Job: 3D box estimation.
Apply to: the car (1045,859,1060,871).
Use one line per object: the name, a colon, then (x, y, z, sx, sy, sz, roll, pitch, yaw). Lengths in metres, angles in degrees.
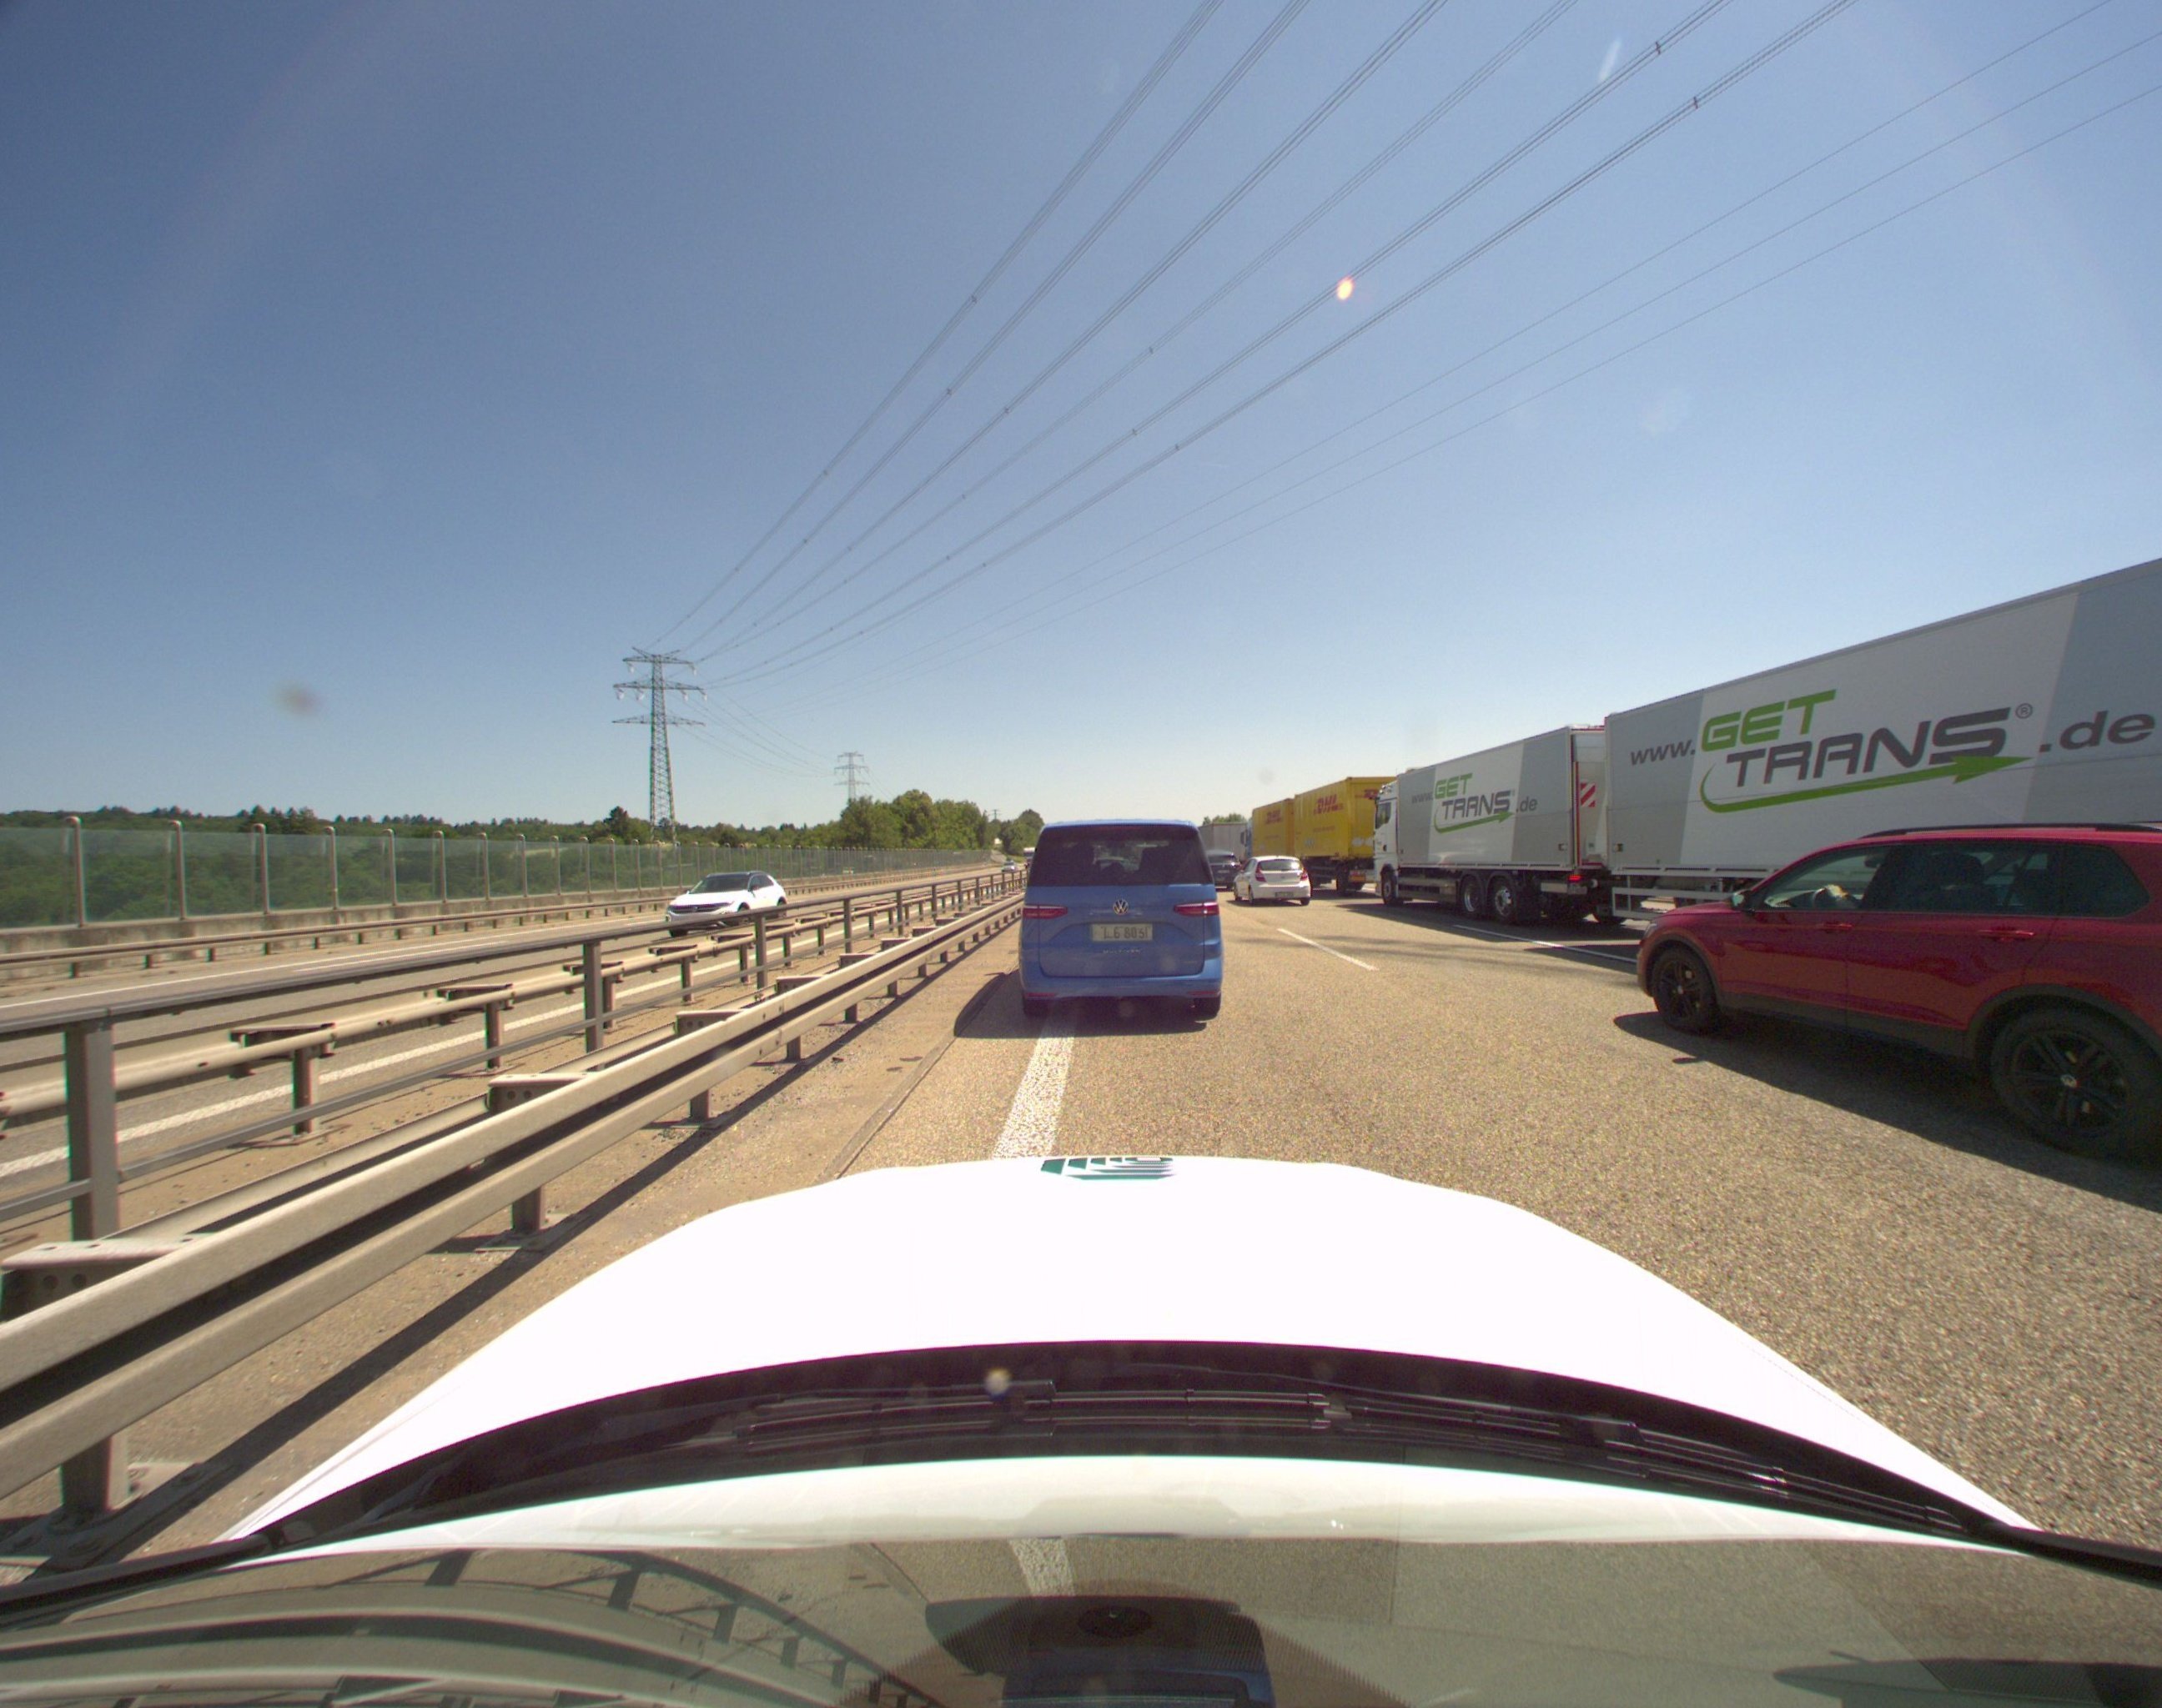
car: (-4.386, 1.678, 125.053, 1.865, 1.530, 3.609, -7, -1, 1)

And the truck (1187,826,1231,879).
truck: (11.636, -0.077, 74.654, 3.014, 4.611, 7.925, 0, -1, 2)

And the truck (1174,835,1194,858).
truck: (11.382, -0.826, 90.517, 1.791, 2.449, 4.506, 0, -1, 2)

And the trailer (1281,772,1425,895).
trailer: (10.164, -0.621, 31.666, 2.673, 4.088, 8.980, 0, -1, 1)

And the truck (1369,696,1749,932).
truck: (9.842, -0.602, 18.911, 2.841, 3.934, 10.613, 0, -1, 2)

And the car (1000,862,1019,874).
car: (-9.034, 1.742, 103.677, 1.865, 1.442, 4.386, -3, -1, 1)

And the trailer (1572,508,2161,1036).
trailer: (9.524, -0.563, 9.441, 2.888, 3.891, 8.217, 0, -1, 2)

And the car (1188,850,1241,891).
car: (5.753, 0.710, 35.452, 1.808, 1.679, 3.934, 0, -1, 2)

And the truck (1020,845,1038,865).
truck: (-11.419, 0.248, 180.776, 2.917, 4.293, 6.862, -4, -1, 3)

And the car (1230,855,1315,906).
car: (5.901, 0.786, 25.549, 1.808, 1.470, 3.933, 0, -1, 1)

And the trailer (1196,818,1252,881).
trailer: (11.238, -0.243, 65.219, 3.014, 4.611, 10.930, 0, -1, 2)

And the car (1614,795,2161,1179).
car: (5.645, 0.605, 5.265, 1.702, 1.679, 4.286, 0, -1, 2)

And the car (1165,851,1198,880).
car: (6.969, 0.793, 56.861, 1.955, 1.936, 3.933, 0, -1, 2)

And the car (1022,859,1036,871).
car: (-8.600, 1.860, 135.088, 1.833, 1.822, 4.748, -2, -1, 1)

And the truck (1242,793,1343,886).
truck: (10.360, -0.585, 41.065, 2.690, 4.088, 9.941, 0, -1, 1)

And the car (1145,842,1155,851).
car: (12.977, -1.411, 153.546, 1.790, 1.751, 3.945, 0, -1, 2)

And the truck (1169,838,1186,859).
truck: (11.684, -0.626, 99.201, 1.735, 2.549, 4.212, 0, -1, 2)

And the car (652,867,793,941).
car: (-9.251, 1.231, 21.397, 1.800, 1.640, 4.000, -4, -1, 1)

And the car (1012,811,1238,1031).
car: (0.448, 0.600, 8.978, 1.923, 1.874, 4.002, 0, -1, 2)

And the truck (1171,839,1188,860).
truck: (12.570, -0.602, 104.512, 1.790, 2.596, 4.307, 0, -1, 2)

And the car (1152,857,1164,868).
car: (12.969, 1.421, 137.442, 1.790, 1.751, 3.945, 0, -1, 2)

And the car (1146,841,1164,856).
car: (9.088, -0.653, 100.030, 1.912, 1.706, 4.001, 0, -1, 2)
